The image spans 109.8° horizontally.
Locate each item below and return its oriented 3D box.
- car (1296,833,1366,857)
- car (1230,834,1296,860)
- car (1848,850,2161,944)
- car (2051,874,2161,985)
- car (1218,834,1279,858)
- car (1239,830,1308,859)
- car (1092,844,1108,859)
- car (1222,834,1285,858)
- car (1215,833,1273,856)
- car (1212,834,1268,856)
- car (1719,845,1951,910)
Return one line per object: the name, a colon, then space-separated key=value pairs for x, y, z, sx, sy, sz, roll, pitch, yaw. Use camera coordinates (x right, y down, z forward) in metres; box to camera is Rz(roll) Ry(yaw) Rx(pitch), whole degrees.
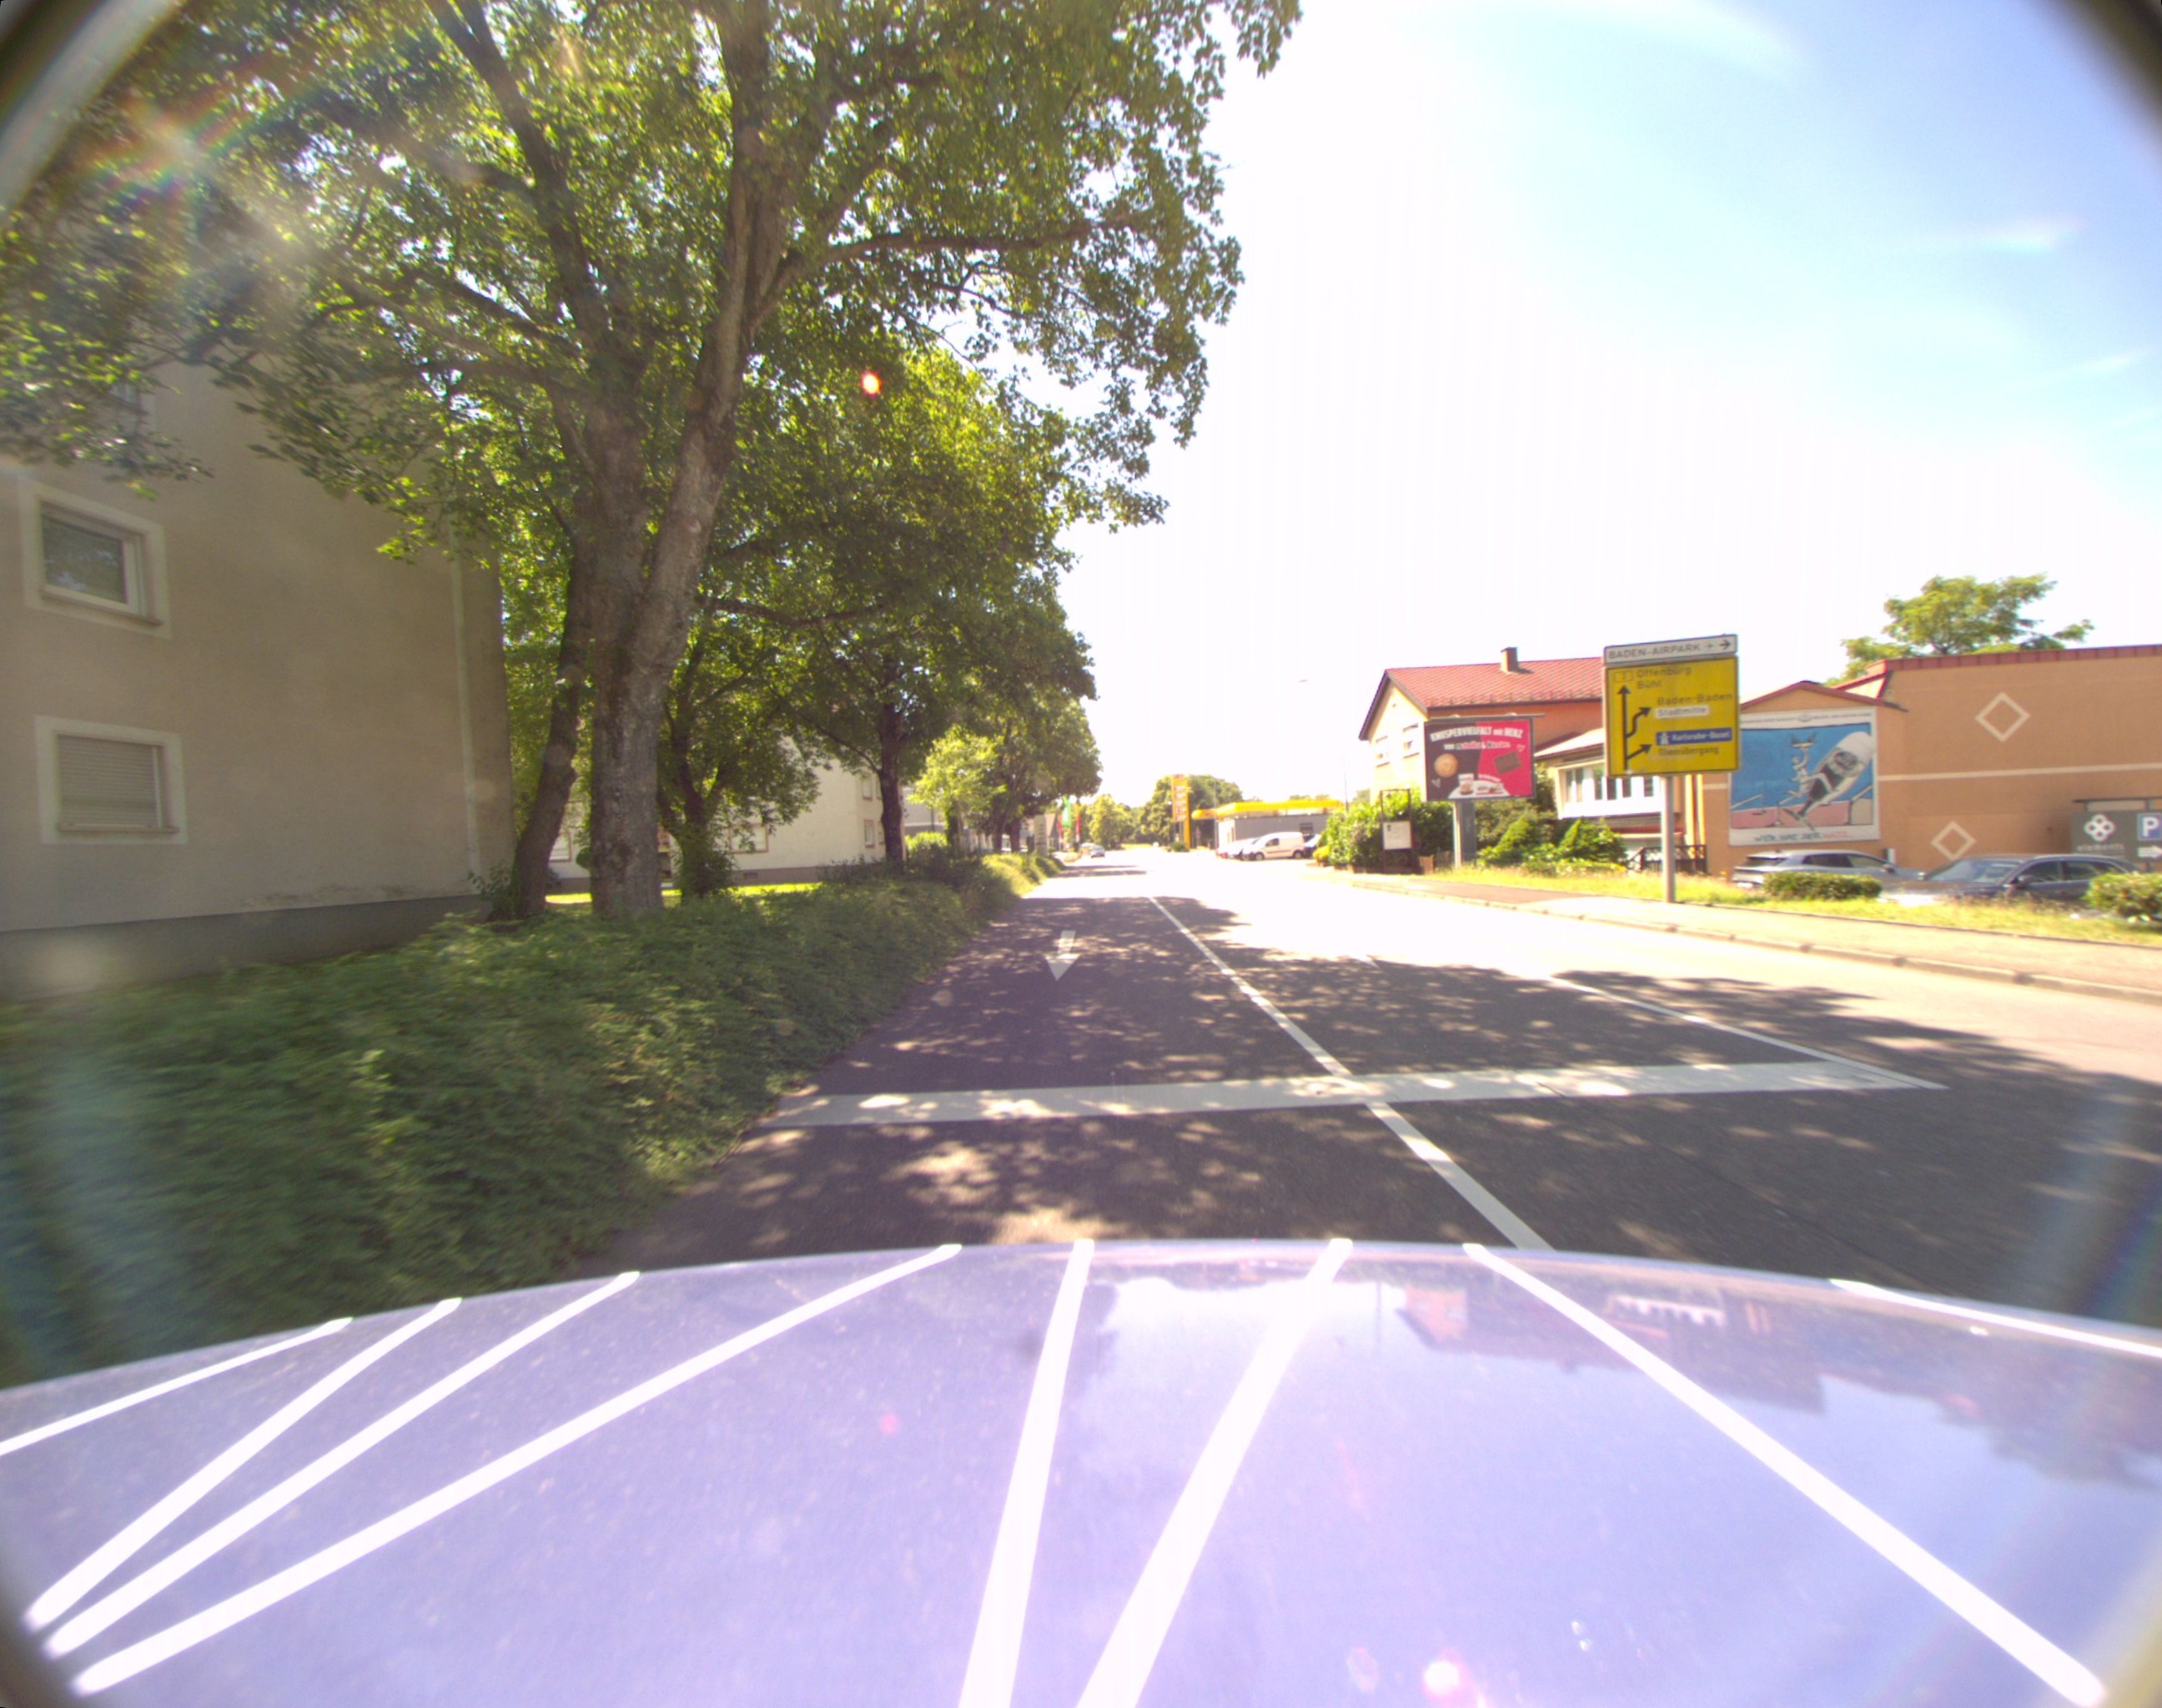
car: x=17.947 y=-0.654 z=54.744 sx=4.402 sy=1.555 sz=1.874 roll=-2 pitch=1 yaw=-4
car: x=13.141 y=-0.531 z=54.867 sx=4.246 sy=1.750 sz=1.874 roll=-2 pitch=1 yaw=-4
car: x=18.416 y=0.815 z=14.971 sx=4.524 sy=1.633 sz=1.772 roll=-1 pitch=1 yaw=7
car: x=17.897 y=1.093 z=11.373 sx=4.095 sy=1.524 sz=1.772 roll=-1 pitch=1 yaw=7
car: x=13.557 y=-0.671 z=61.625 sx=4.402 sy=1.750 sz=1.874 roll=-2 pitch=1 yaw=-4
car: x=13.337 y=-0.665 z=52.752 sx=4.191 sy=1.858 sz=1.874 roll=-2 pitch=1 yaw=-4
car: x=2.184 y=-0.286 z=86.633 sx=1.771 sy=1.521 sz=4.130 roll=-2 pitch=1 yaw=1
car: x=13.443 y=-0.643 z=59.407 sx=4.402 sy=1.750 sz=1.874 roll=-2 pitch=1 yaw=-4
car: x=13.727 y=-0.806 z=63.975 sx=4.402 sy=1.750 sz=1.874 roll=-2 pitch=1 yaw=-4
car: x=13.864 y=-0.781 z=66.383 sx=4.402 sy=1.750 sz=1.874 roll=-2 pitch=1 yaw=-4
car: x=20.220 y=0.620 z=20.556 sx=4.224 sy=1.599 sz=1.772 roll=-1 pitch=1 yaw=9
